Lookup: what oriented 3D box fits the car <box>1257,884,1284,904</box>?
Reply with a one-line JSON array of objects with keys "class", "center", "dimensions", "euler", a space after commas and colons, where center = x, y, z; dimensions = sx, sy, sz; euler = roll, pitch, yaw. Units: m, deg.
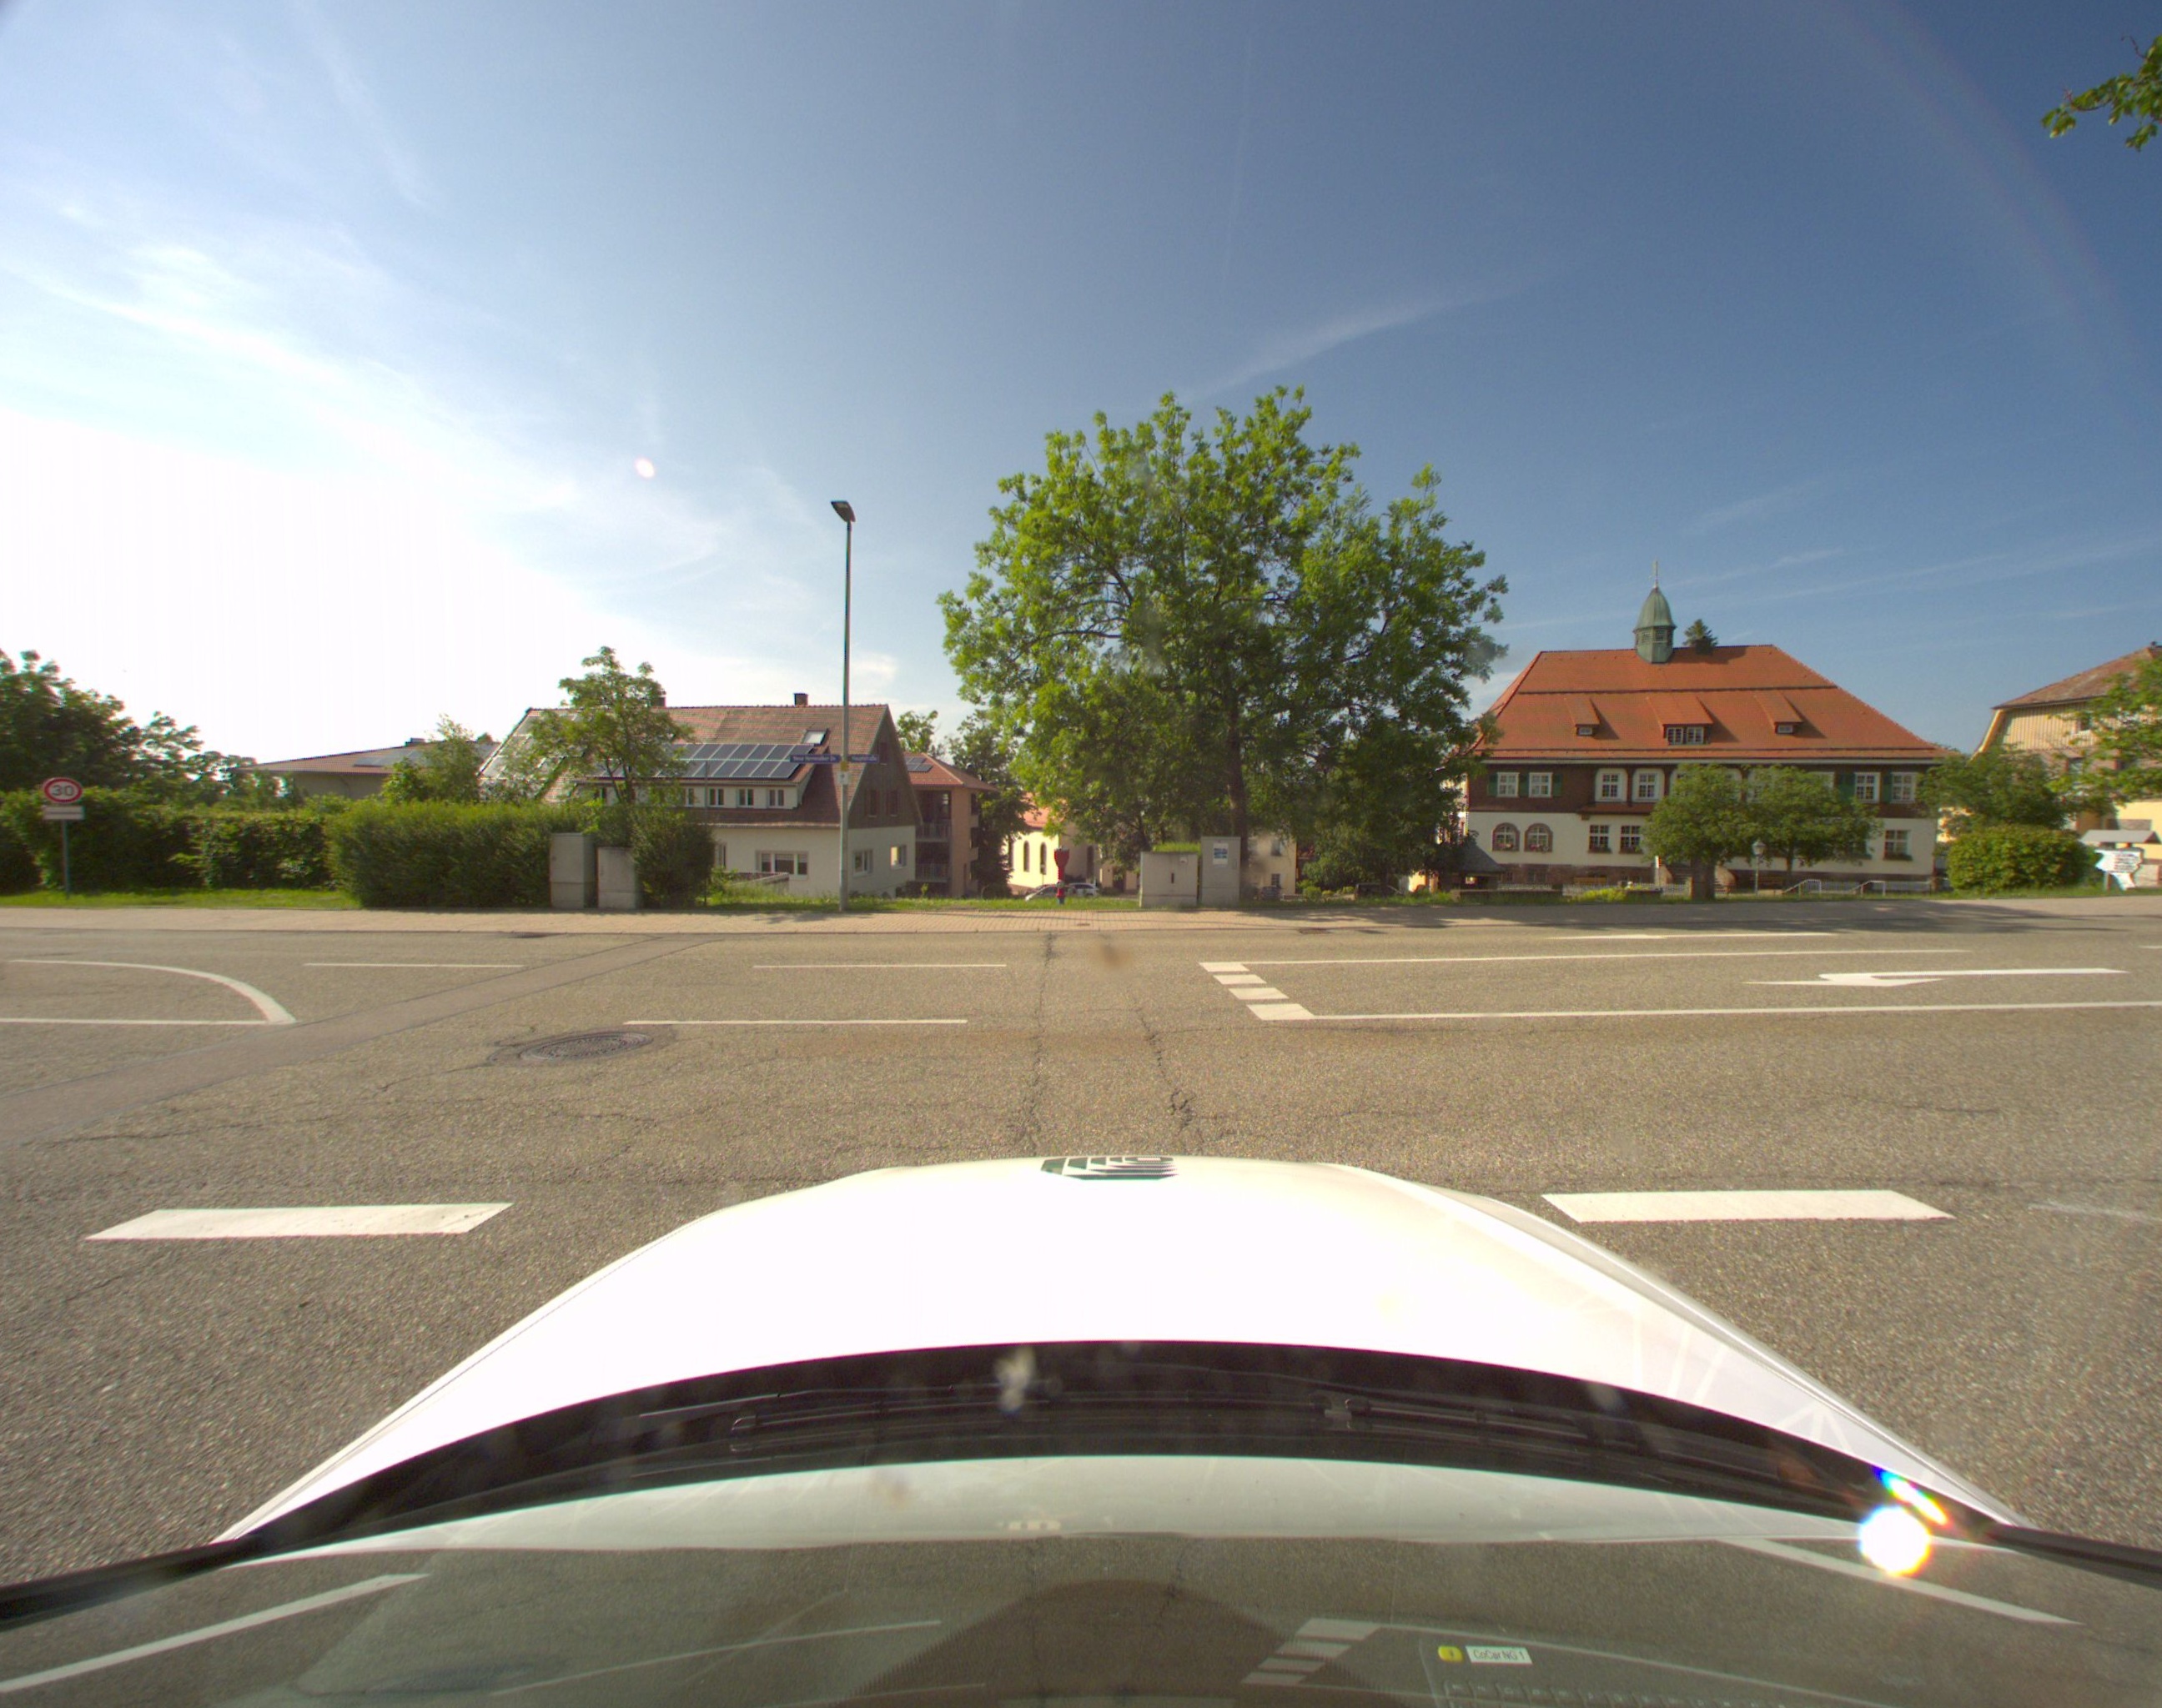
[{"class": "car", "center": [15.739, 3.293, 67.652], "dimensions": [1.699, 1.542, 3.791], "euler": [-1, -1, 6]}]

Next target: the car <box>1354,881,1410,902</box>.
[{"class": "car", "center": [22.514, 2.814, 60.946], "dimensions": [3.746, 1.444, 1.720], "euler": [-1, -1, 14]}]

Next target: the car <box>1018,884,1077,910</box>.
[{"class": "car", "center": [-2.392, 3.048, 57.812], "dimensions": [4.081, 1.758, 1.711], "euler": [-1, -1, -3]}]

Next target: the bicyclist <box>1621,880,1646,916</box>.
[{"class": "bicyclist", "center": [29.919, 2.354, 44.127], "dimensions": [0.987, 1.925, 0.584], "euler": [-1, -1, 16]}]

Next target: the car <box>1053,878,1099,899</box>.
[{"class": "car", "center": [-0.446, 2.896, 68.622], "dimensions": [3.765, 1.593, 1.711], "euler": [-1, -1, -4]}]
